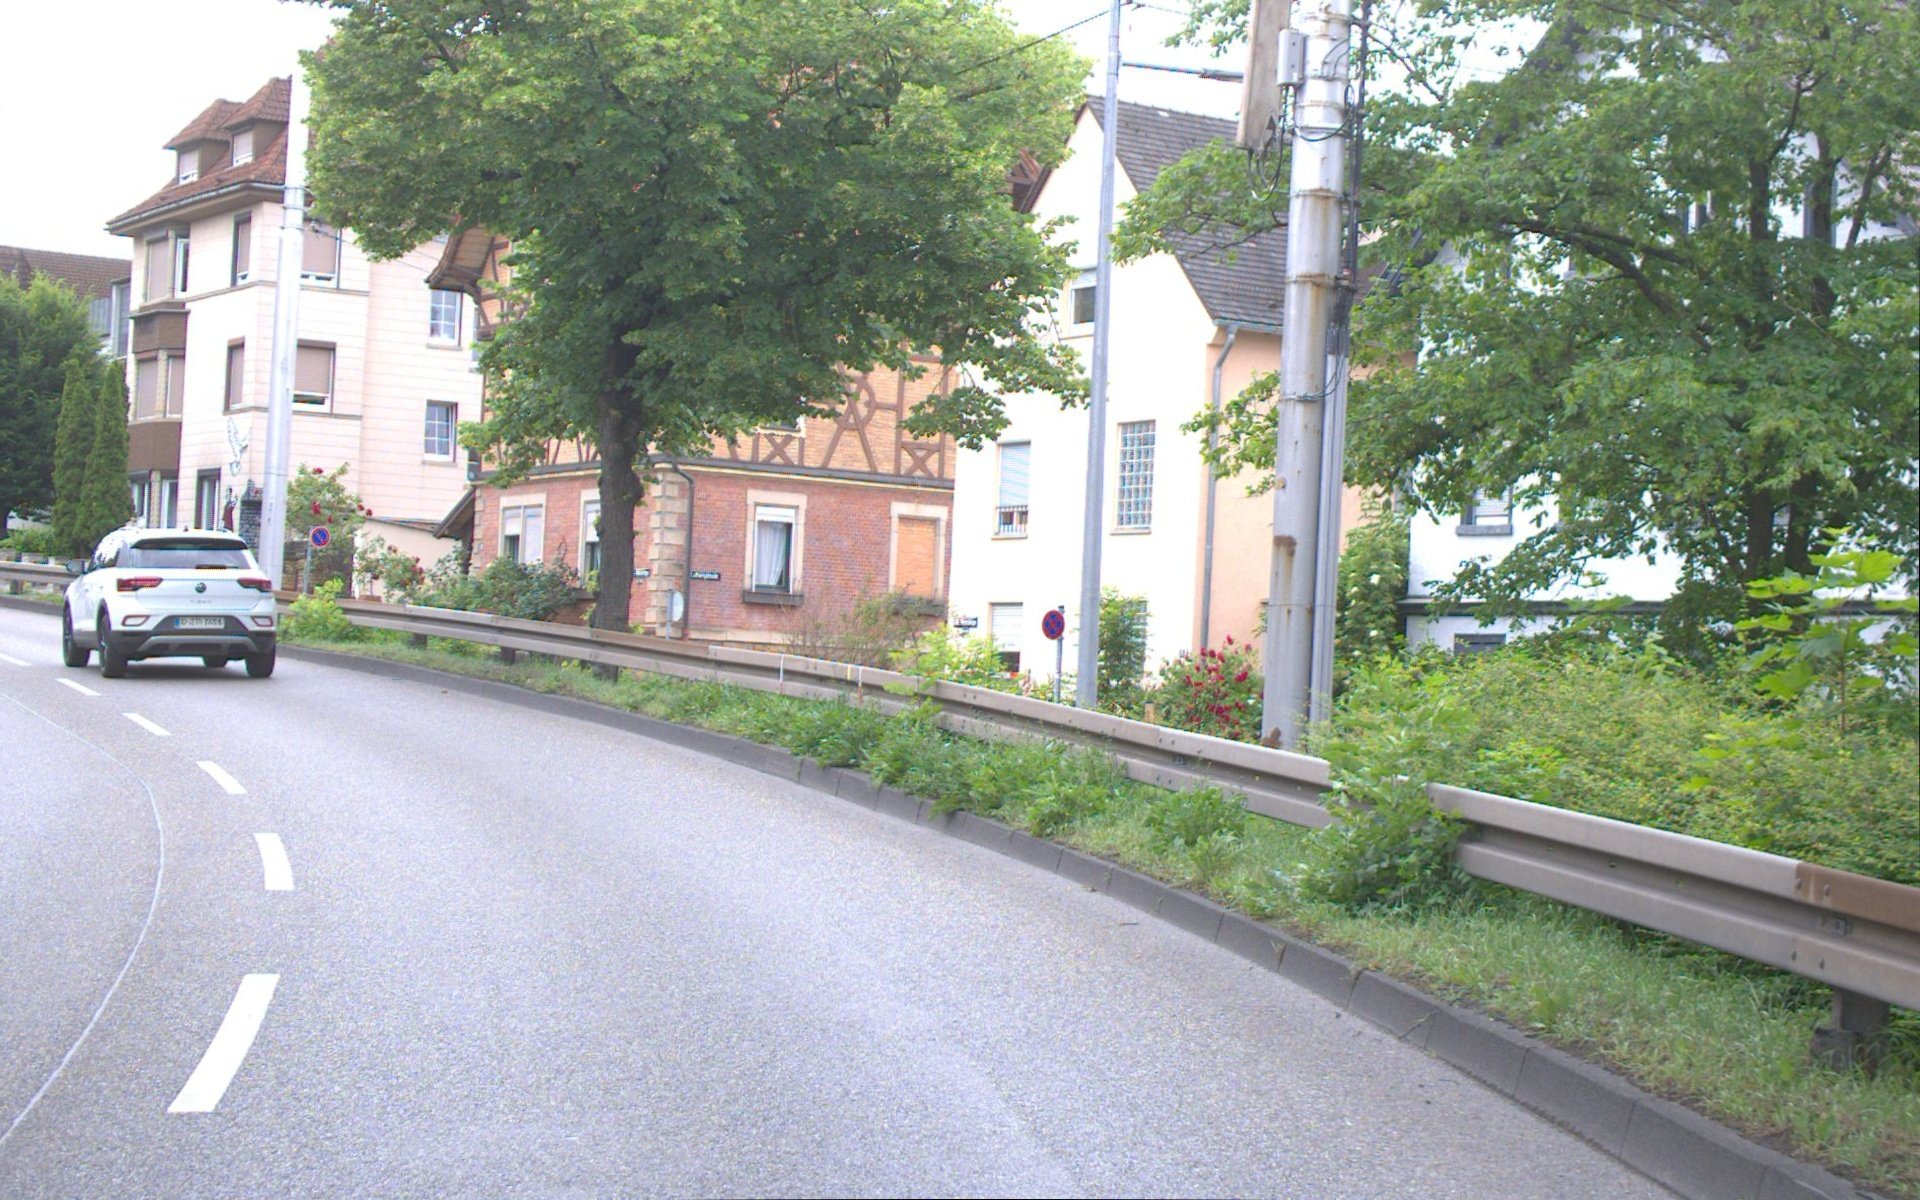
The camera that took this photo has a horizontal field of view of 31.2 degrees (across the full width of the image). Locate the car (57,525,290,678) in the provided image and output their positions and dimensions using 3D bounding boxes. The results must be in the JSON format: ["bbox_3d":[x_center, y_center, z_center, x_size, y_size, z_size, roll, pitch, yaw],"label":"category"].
[{"bbox_3d":[-8.465,-0.012,36.808,1.796,1.513,3.457,1,1,-24],"label":"car"}]
